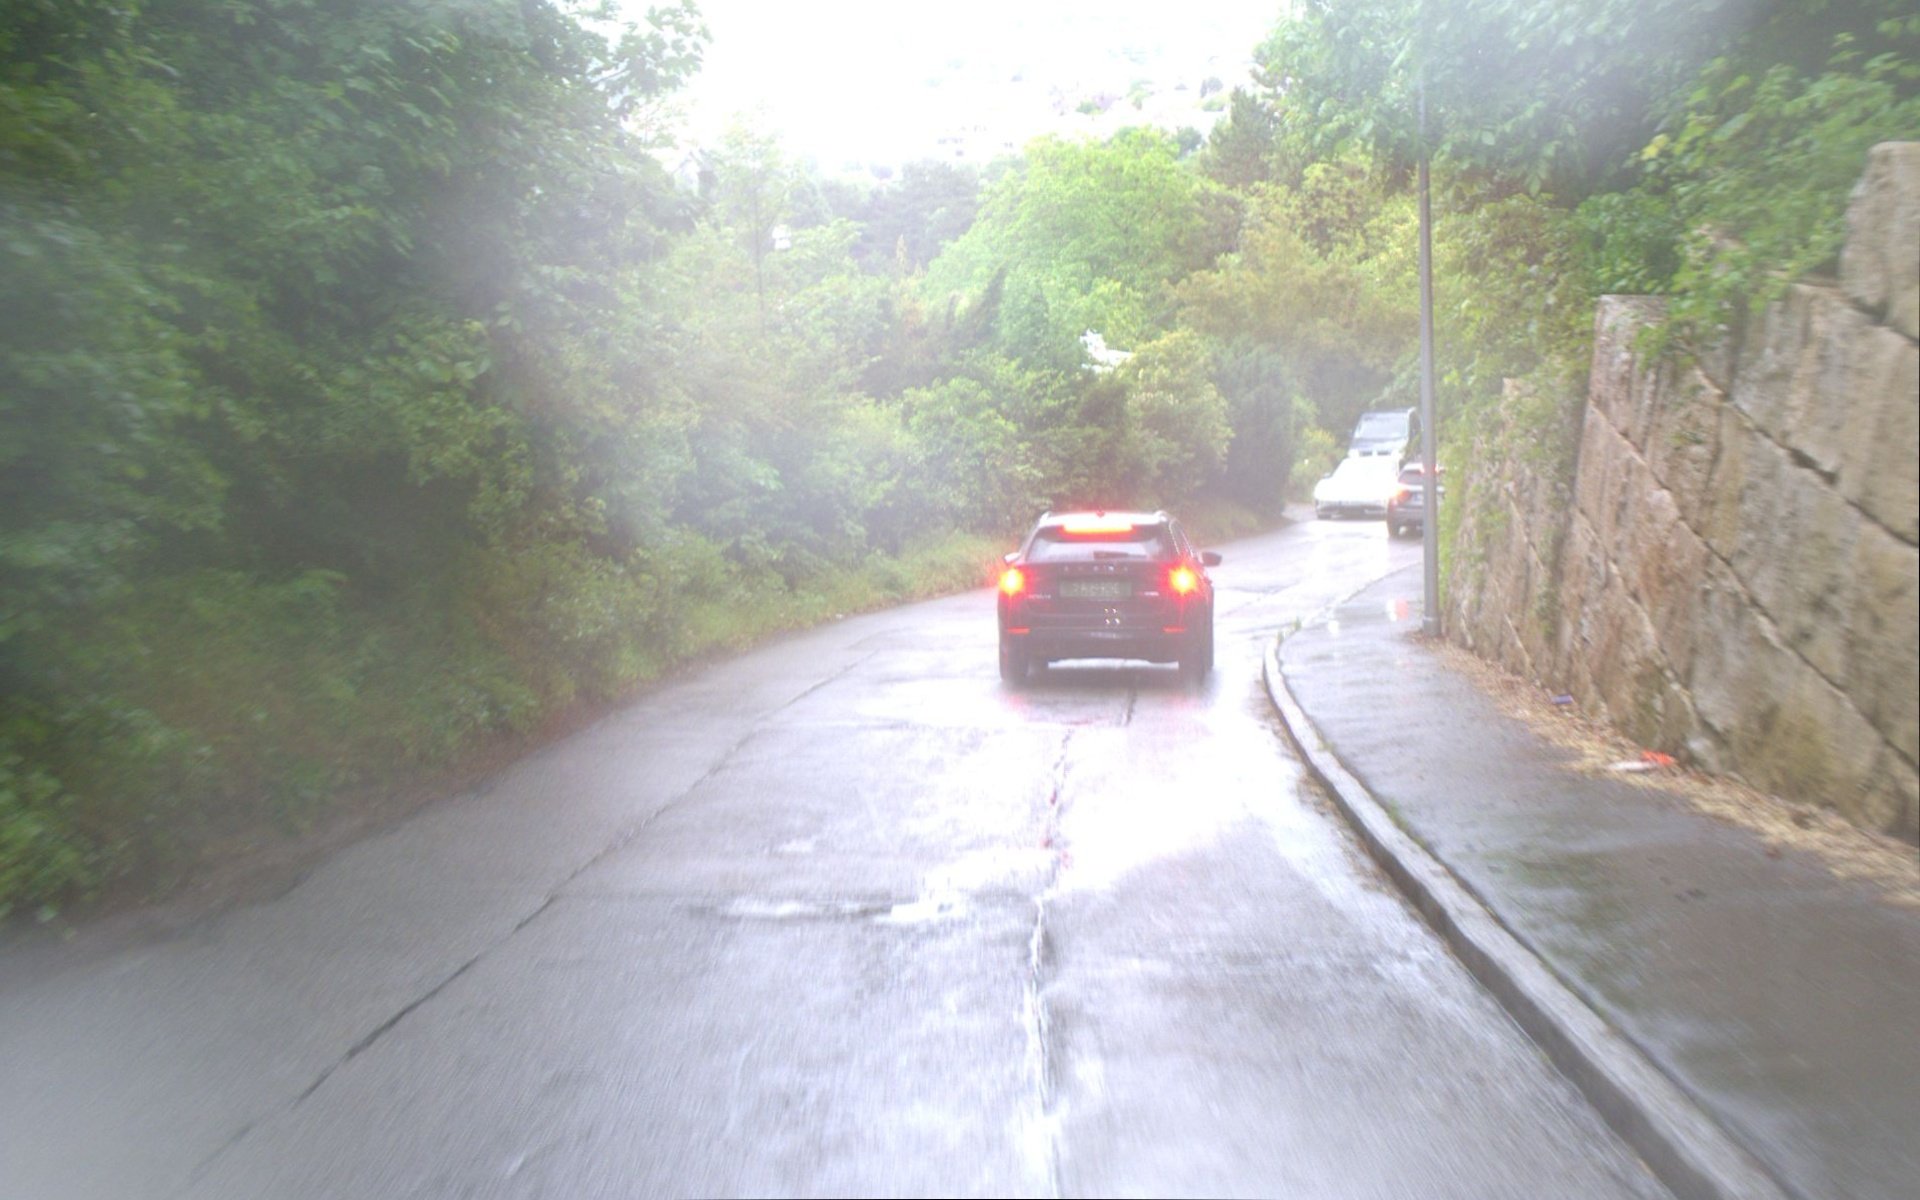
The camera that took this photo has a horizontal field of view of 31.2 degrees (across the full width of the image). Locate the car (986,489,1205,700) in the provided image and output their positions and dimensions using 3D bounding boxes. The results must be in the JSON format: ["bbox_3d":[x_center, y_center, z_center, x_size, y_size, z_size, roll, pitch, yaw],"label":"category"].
[{"bbox_3d":[1.252,-0.107,30.245,1.700,1.445,4.001,-1,6,5],"label":"car"}]

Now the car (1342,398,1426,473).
[{"bbox_3d":[11.684,-4.549,94.558,1.690,1.776,4.231,0,6,15],"label":"car"}]

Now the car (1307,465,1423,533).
[{"bbox_3d":[9.571,-2.384,80.954,1.942,1.517,4.576,1,2,17],"label":"car"}]

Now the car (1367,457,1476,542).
[{"bbox_3d":[9.831,-2.135,73.005,1.864,1.737,3.998,1,2,14],"label":"car"}]
